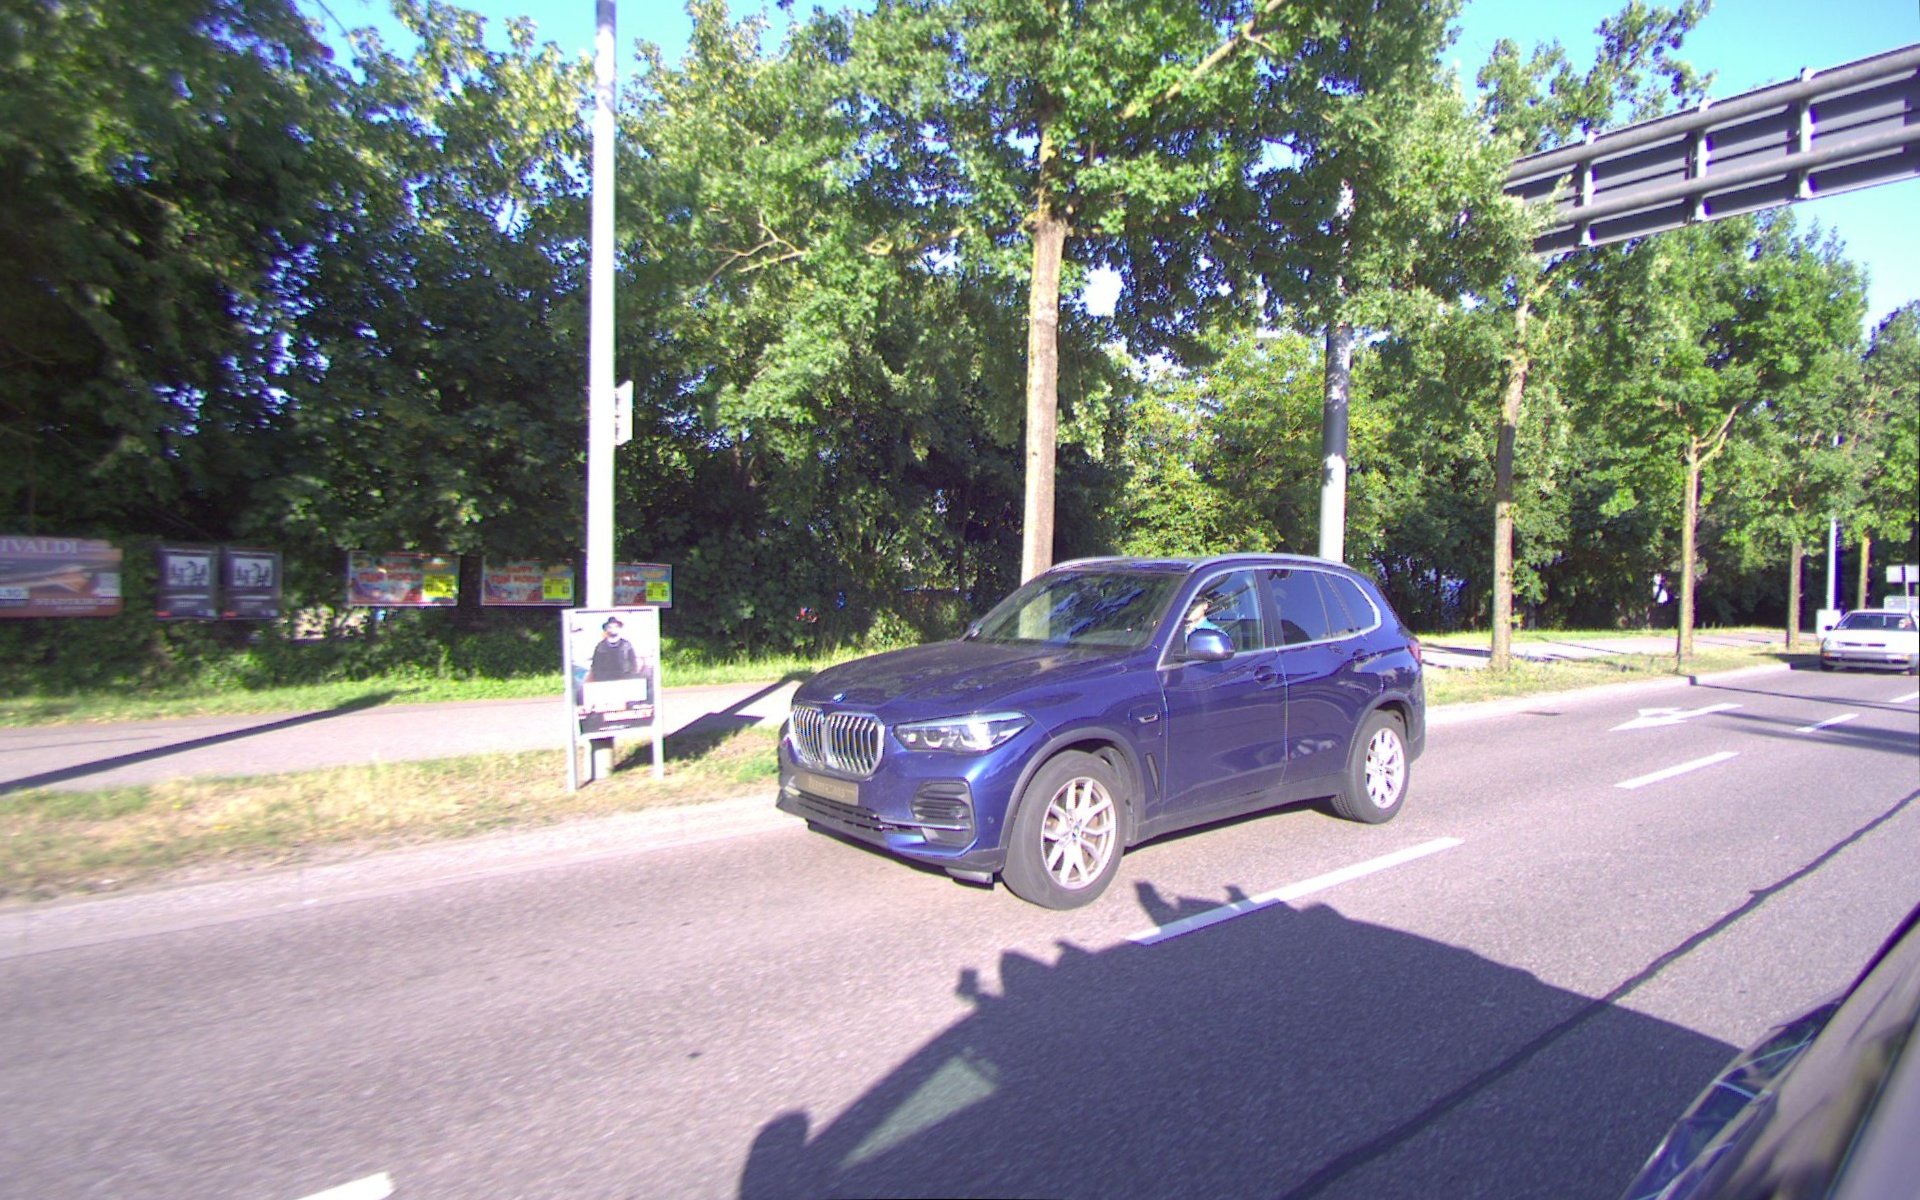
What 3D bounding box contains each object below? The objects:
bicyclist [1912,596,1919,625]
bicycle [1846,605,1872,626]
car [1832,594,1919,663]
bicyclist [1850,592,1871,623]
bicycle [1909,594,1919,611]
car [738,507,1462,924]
[{"bbox_3d":[58.069,0.648,61.161,0.832,1.755,0.605,1,0,-37],"label":"bicyclist"},{"bbox_3d":[44.979,0.788,50.615,1.788,0.986,0.618,1,1,-37],"label":"bicycle"},{"bbox_3d":[21.102,0.648,22.817,3.966,1.416,1.614,2,0,-41],"label":"car"},{"bbox_3d":[45.077,0.384,50.675,0.832,1.520,0.615,1,0,-37],"label":"bicyclist"},{"bbox_3d":[57.835,0.184,60.965,2.020,0.986,0.618,1,1,-37],"label":"bicycle"},{"bbox_3d":[1.140,0.471,6.461,4.614,1.748,1.959,0,0,-39],"label":"car"}]
